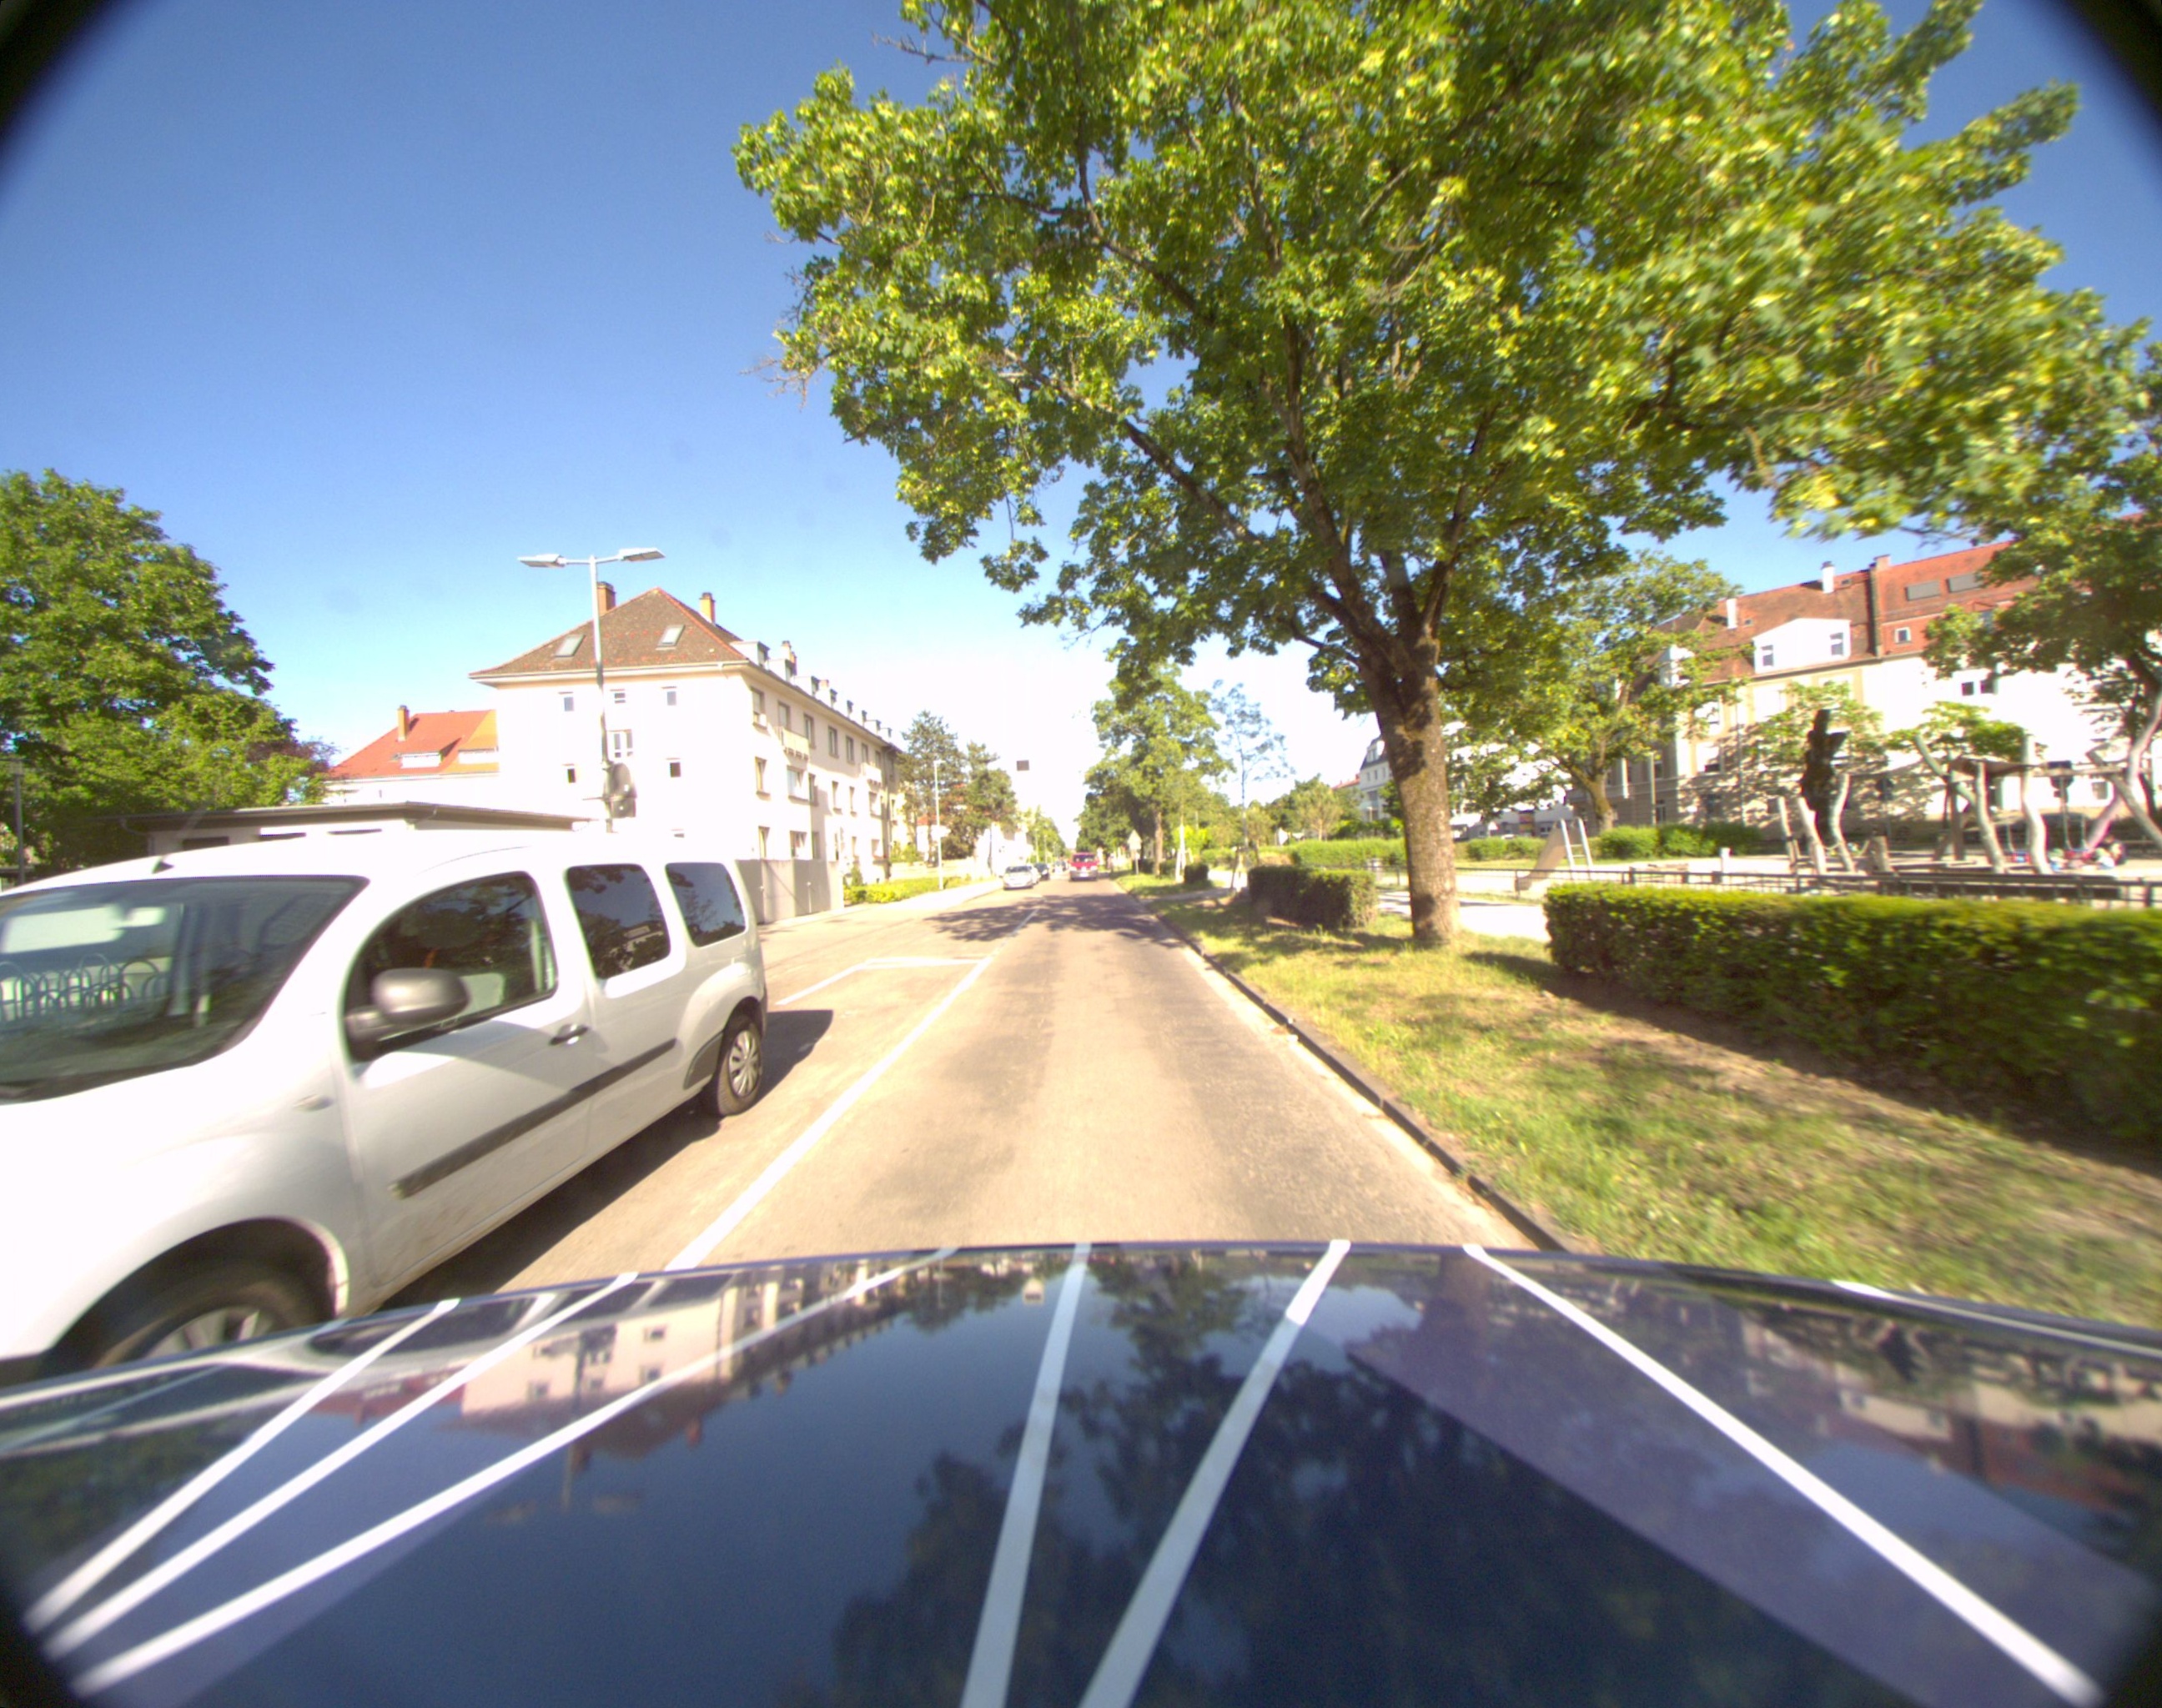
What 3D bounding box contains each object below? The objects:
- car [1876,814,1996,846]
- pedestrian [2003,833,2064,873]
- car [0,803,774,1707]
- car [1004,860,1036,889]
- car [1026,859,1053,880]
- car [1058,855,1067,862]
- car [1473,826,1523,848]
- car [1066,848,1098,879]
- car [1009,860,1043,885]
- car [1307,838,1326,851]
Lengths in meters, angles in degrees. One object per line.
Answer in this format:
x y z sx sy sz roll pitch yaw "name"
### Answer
46.284 -1.275 41.258 3.989 1.501 1.803 -3 0 35 "car"
24.180 -0.024 19.303 0.542 0.973 0.778 -3 0 8 "pedestrian"
-3.069 0.907 3.032 1.812 1.897 4.461 -4 0 -1 "car"
-3.542 1.181 44.615 1.664 1.456 4.410 -5 0 -3 "car"
-3.284 1.216 60.780 1.799 1.501 3.995 -5 0 1 "car"
-4.274 0.981 173.807 1.799 1.529 4.001 -3 -1 0 "car"
36.103 -1.443 65.909 1.799 1.625 4.587 -3 0 1 "car"
0.084 0.660 52.659 2.092 2.000 4.844 -2 0 0 "car"
-3.638 1.198 51.150 1.799 1.412 4.288 -5 0 1 "car"
39.801 -1.570 128.342 1.941 2.017 4.406 -2 0 2 "car"
